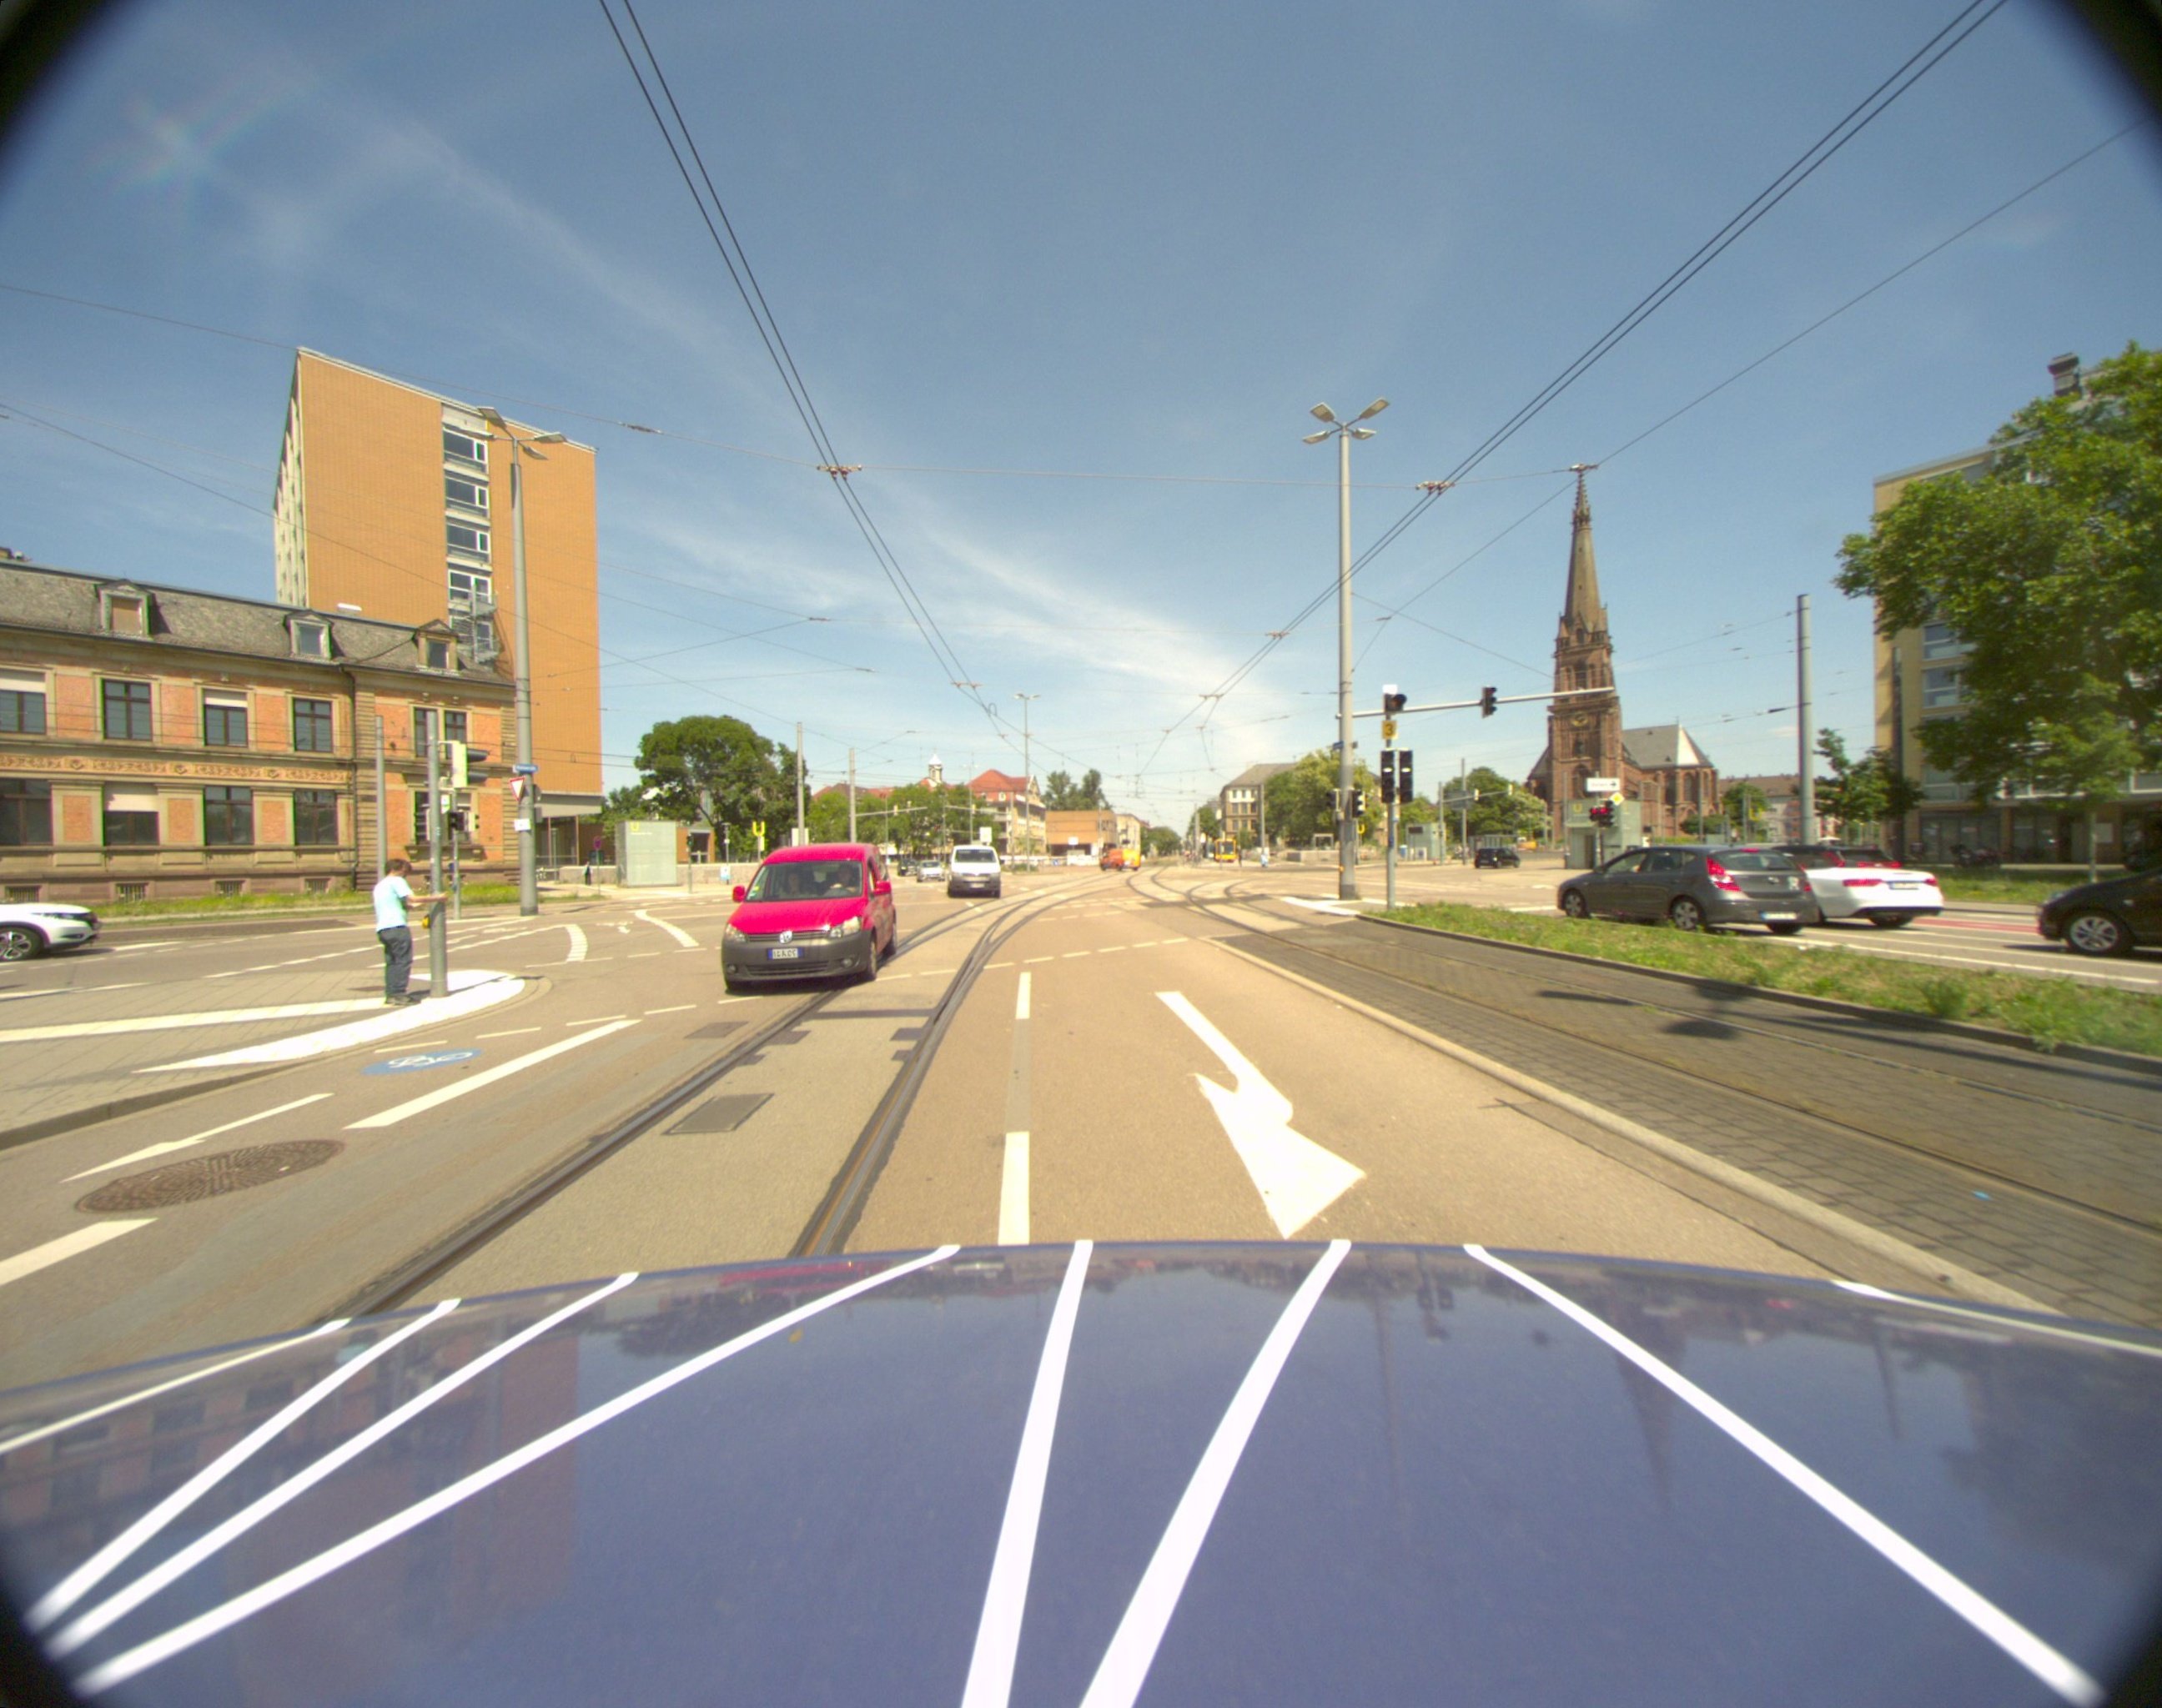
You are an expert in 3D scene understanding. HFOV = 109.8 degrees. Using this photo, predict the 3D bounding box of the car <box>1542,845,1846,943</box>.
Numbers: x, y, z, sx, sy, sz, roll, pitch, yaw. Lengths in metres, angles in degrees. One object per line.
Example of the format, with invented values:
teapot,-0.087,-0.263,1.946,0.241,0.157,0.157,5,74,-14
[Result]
car,10.535,0.613,13.581,1.848,1.471,4.329,0,0,-2

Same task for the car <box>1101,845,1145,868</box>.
car,3.718,0.224,68.526,2.003,2.002,4.586,-2,0,-26

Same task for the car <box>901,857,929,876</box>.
car,-16.068,1.160,73.380,2.002,1.714,3.993,-1,0,-22

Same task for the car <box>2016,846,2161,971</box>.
car,13.435,0.629,8.247,1.675,1.453,3.902,0,0,-3

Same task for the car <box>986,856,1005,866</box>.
car,-12.712,1.036,112.929,1.541,1.450,2.980,-2,1,-32

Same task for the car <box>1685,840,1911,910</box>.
car,18.262,0.491,19.692,1.538,1.588,4.398,0,0,-4

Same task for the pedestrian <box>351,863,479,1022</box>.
pedestrian,-7.943,1.003,9.083,0.808,1.769,0.876,-1,1,29

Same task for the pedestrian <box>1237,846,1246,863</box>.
pedestrian,16.026,0.041,75.820,0.657,1.661,0.449,-1,1,-19

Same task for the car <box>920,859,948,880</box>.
car,-10.097,1.017,52.002,1.573,1.346,3.454,-1,0,-15

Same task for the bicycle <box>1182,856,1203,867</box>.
bicycle,10.734,0.708,73.060,1.906,0.973,0.528,-1,1,-8

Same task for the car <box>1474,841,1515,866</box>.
car,28.145,-0.067,51.673,3.393,1.565,1.331,-3,1,-41

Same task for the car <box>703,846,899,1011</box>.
car,-3.622,0.824,10.593,1.757,1.802,4.093,-1,0,-9

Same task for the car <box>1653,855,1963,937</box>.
car,13.465,0.697,14.510,1.711,1.291,4.201,0,1,-4

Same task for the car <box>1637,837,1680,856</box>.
car,47.210,-0.612,62.087,4.007,1.521,1.775,-2,1,-38

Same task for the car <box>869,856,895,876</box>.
car,-19.696,1.165,75.165,2.002,1.830,3.993,-1,0,-22

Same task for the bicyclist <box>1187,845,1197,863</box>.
bicyclist,10.718,0.028,73.123,0.813,1.678,0.528,-1,1,-8

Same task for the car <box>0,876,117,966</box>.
car,-21.155,1.280,13.837,4.184,1.596,1.703,-1,1,-42

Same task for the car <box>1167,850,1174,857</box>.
car,20.816,-0.170,176.514,1.439,1.586,4.002,-1,0,6

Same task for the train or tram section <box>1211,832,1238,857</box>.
train or tram section,19.446,-1.226,103.256,2.840,3.195,9.113,-1,0,6

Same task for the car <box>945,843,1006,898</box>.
car,-4.150,0.594,29.418,1.876,1.954,3.818,-1,1,-15
